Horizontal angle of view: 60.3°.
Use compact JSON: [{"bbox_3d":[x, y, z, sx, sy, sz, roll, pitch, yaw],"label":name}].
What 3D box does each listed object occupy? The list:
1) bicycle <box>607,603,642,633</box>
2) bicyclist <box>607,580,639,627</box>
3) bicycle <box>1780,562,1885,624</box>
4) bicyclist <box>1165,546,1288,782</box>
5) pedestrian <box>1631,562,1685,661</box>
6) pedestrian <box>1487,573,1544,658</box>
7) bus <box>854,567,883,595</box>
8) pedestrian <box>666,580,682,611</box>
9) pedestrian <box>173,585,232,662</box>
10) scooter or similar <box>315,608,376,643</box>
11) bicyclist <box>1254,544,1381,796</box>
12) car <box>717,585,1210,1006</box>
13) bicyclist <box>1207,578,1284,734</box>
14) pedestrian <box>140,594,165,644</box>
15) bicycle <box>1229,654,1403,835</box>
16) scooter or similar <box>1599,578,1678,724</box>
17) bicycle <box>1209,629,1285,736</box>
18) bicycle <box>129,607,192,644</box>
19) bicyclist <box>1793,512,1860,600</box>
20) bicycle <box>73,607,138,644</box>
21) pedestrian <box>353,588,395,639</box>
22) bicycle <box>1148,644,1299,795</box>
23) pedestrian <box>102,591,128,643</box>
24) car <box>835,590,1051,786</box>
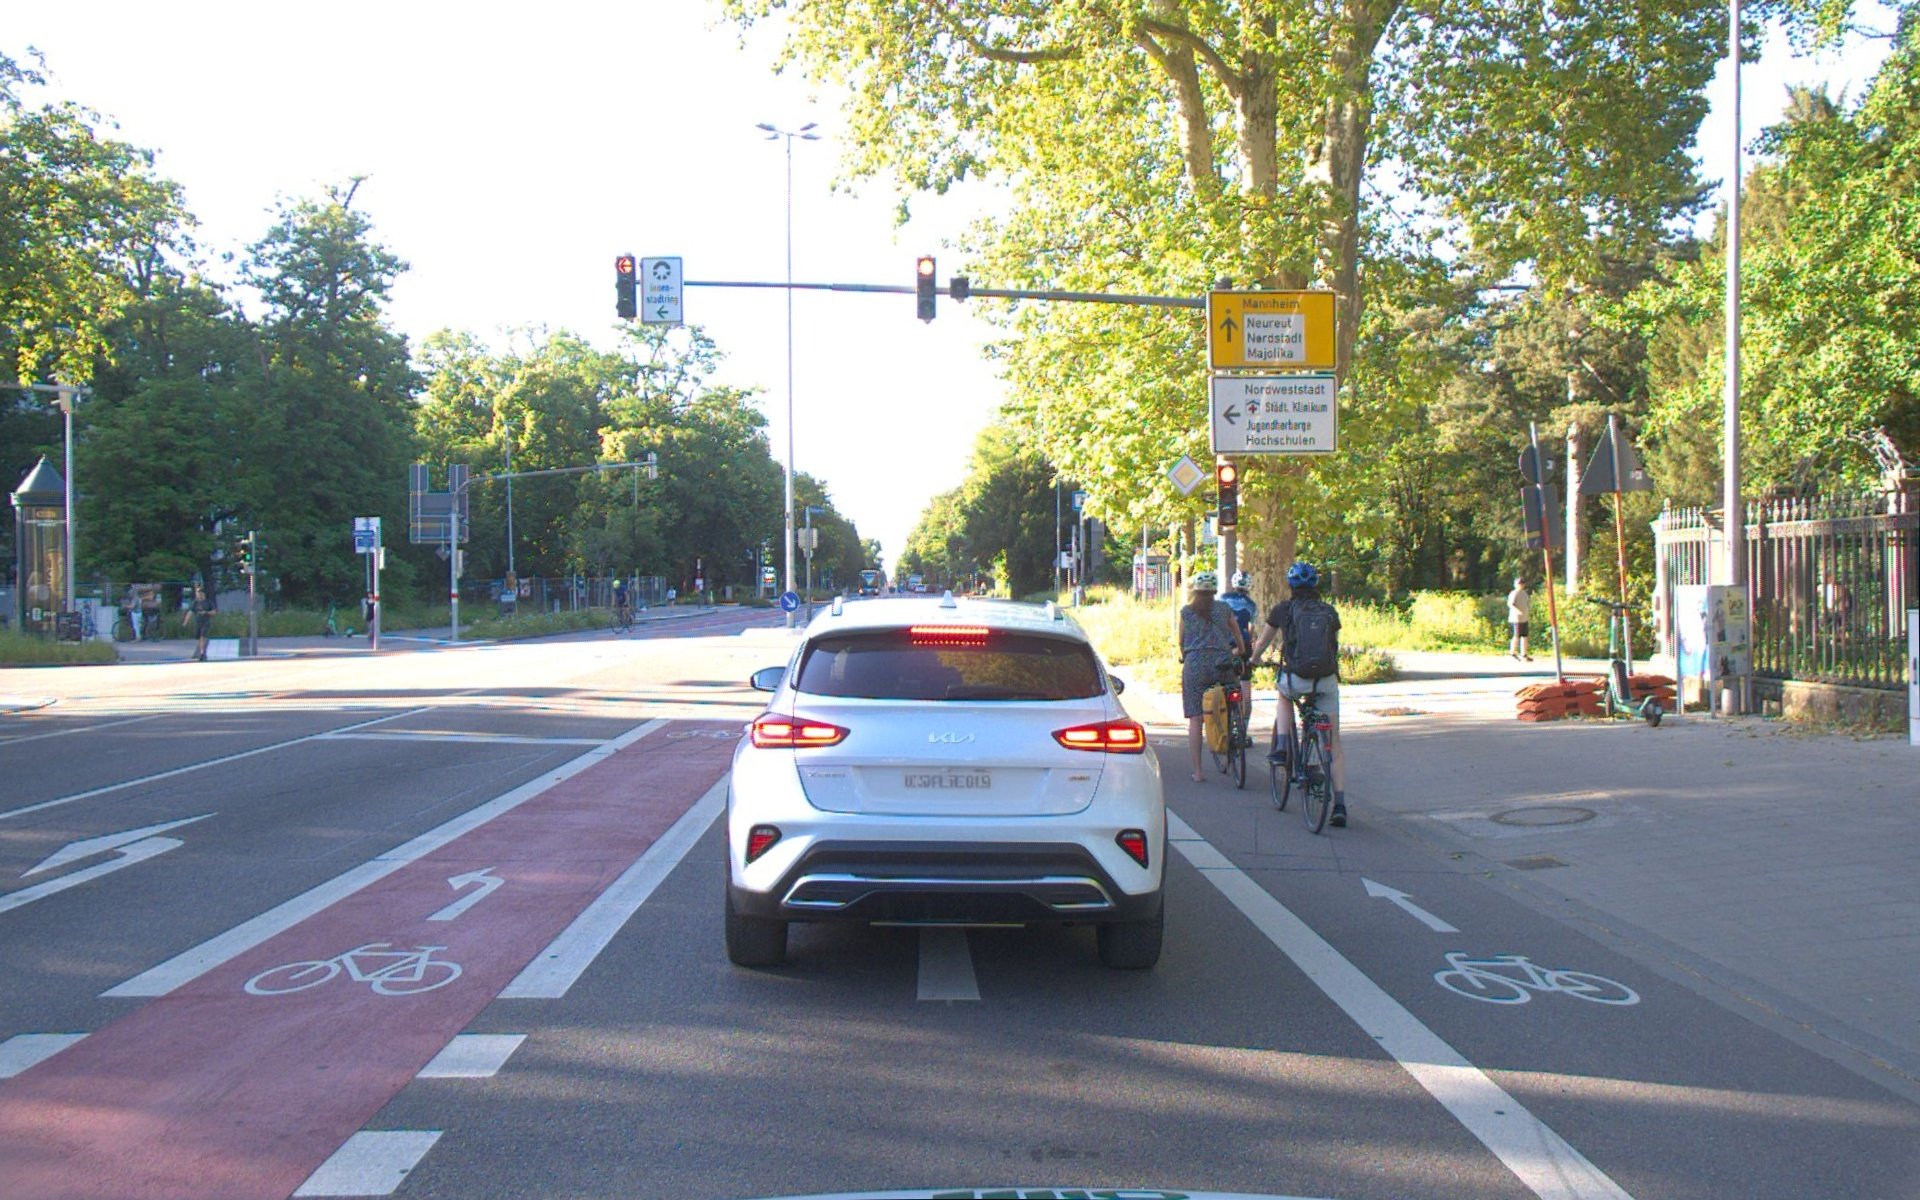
[{"bbox_3d":[-12.069,0.620,59.532,0.650,1.006,2.504,-1,1,1],"label":"bicycle"},{"bbox_3d":[-12.108,0.113,59.490,0.857,1.636,1.188,-1,0,1],"label":"bicyclist"},{"bbox_3d":[14.760,-0.112,27.993,1.585,1.032,0.474,0,0,-6],"label":"bicycle"},{"bbox_3d":[2.159,0.494,13.510,0.738,1.827,1.164,1,0,-2],"label":"bicyclist"},{"bbox_3d":[12.287,0.203,29.140,0.675,1.729,0.644,0,0,-1],"label":"pedestrian"},{"bbox_3d":[10.172,0.278,30.330,0.801,1.544,0.917,0,0,6],"label":"pedestrian"},{"bbox_3d":[-12.580,-2.591,226.246,3.668,3.737,13.229,-1,1,-4],"label":"bus"},{"bbox_3d":[-17.020,-0.271,98.439,0.769,1.817,0.751,0,0,0],"label":"pedestrian"},{"bbox_3d":[-20.395,0.620,44.560,0.974,2.049,1.191,0,0,4],"label":"pedestrian"},{"bbox_3d":[-20.832,0.855,56.110,0.697,1.144,1.916,0,0,32],"label":"scooter or similar"},{"bbox_3d":[2.388,0.453,11.109,0.652,1.630,0.720,1,0,-2],"label":"bicyclist"},{"bbox_3d":[-0.056,0.684,7.952,1.785,1.506,3.934,0,1,-2],"label":"car"},{"bbox_3d":[2.867,0.550,16.631,0.543,1.504,0.716,-3,0,-2],"label":"bicyclist"},{"bbox_3d":[-26.129,0.613,53.529,0.617,1.608,0.444,0,0,-11],"label":"pedestrian"},{"bbox_3d":[2.372,0.931,11.283,0.655,1.027,2.080,1,1,-2],"label":"bicycle"},{"bbox_3d":[6.536,0.471,15.965,0.223,1.350,1.171,-1,0,-2],"label":"scooter or similar"},{"bbox_3d":[2.879,0.809,16.700,0.393,0.973,1.550,-3,0,-2],"label":"bicycle"},{"bbox_3d":[-25.960,0.829,53.683,1.826,1.168,0.290,0,0,-8],"label":"bicycle"},{"bbox_3d":[14.655,-0.737,27.969,0.767,1.456,0.665,0,0,-6],"label":"bicyclist"},{"bbox_3d":[-27.829,0.827,53.852,1.826,1.168,0.442,0,0,-8],"label":"bicycle"},{"bbox_3d":[-19.275,0.449,54.387,1.067,1.631,0.999,-1,0,-7],"label":"pedestrian"},{"bbox_3d":[2.139,0.937,13.793,0.742,1.031,2.568,1,1,-2],"label":"bicycle"},{"bbox_3d":[-27.363,0.562,53.544,0.617,1.671,0.444,0,0,-11],"label":"pedestrian"},{"bbox_3d":[-0.209,0.691,14.935,1.694,1.509,3.515,-1,1,-3],"label":"car"}]
